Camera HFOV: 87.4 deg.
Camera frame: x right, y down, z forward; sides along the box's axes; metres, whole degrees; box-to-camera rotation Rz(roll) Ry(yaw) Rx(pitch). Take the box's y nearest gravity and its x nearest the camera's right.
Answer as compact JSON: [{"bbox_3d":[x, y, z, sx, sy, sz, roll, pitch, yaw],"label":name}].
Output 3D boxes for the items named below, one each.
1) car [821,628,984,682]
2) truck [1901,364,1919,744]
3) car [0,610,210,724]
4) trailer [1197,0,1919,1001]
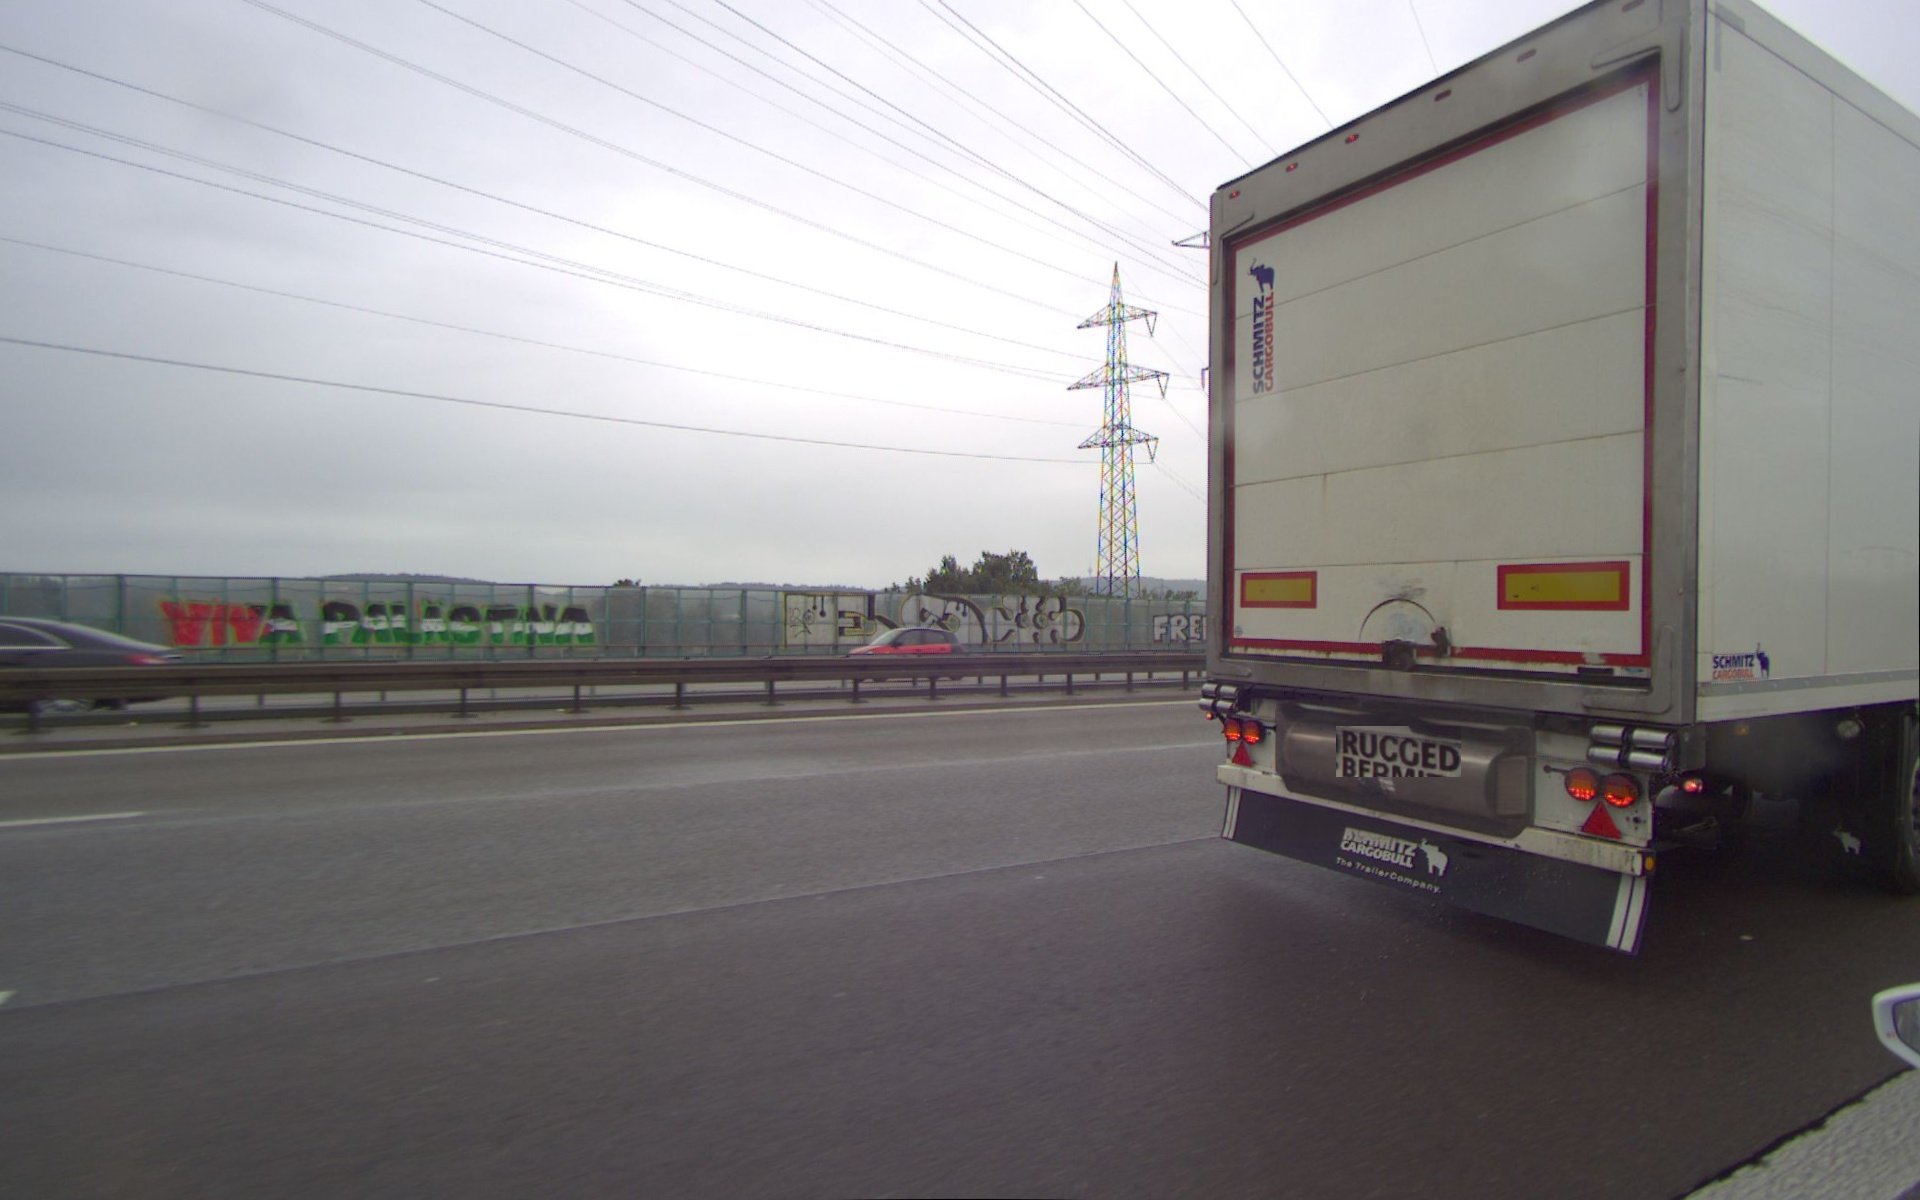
[{"bbox_3d":[-1.641,1.605,29.225,4.417,1.449,1.832,2,-4,-32],"label":"car"},{"bbox_3d":[13.870,-0.442,11.829,6.272,4.213,2.331,1,0,-30],"label":"truck"},{"bbox_3d":[-12.897,0.892,13.406,4.417,1.449,1.832,2,-4,-32],"label":"car"},{"bbox_3d":[8.206,-0.557,8.398,14.657,4.213,2.330,1,0,-31],"label":"trailer"}]
